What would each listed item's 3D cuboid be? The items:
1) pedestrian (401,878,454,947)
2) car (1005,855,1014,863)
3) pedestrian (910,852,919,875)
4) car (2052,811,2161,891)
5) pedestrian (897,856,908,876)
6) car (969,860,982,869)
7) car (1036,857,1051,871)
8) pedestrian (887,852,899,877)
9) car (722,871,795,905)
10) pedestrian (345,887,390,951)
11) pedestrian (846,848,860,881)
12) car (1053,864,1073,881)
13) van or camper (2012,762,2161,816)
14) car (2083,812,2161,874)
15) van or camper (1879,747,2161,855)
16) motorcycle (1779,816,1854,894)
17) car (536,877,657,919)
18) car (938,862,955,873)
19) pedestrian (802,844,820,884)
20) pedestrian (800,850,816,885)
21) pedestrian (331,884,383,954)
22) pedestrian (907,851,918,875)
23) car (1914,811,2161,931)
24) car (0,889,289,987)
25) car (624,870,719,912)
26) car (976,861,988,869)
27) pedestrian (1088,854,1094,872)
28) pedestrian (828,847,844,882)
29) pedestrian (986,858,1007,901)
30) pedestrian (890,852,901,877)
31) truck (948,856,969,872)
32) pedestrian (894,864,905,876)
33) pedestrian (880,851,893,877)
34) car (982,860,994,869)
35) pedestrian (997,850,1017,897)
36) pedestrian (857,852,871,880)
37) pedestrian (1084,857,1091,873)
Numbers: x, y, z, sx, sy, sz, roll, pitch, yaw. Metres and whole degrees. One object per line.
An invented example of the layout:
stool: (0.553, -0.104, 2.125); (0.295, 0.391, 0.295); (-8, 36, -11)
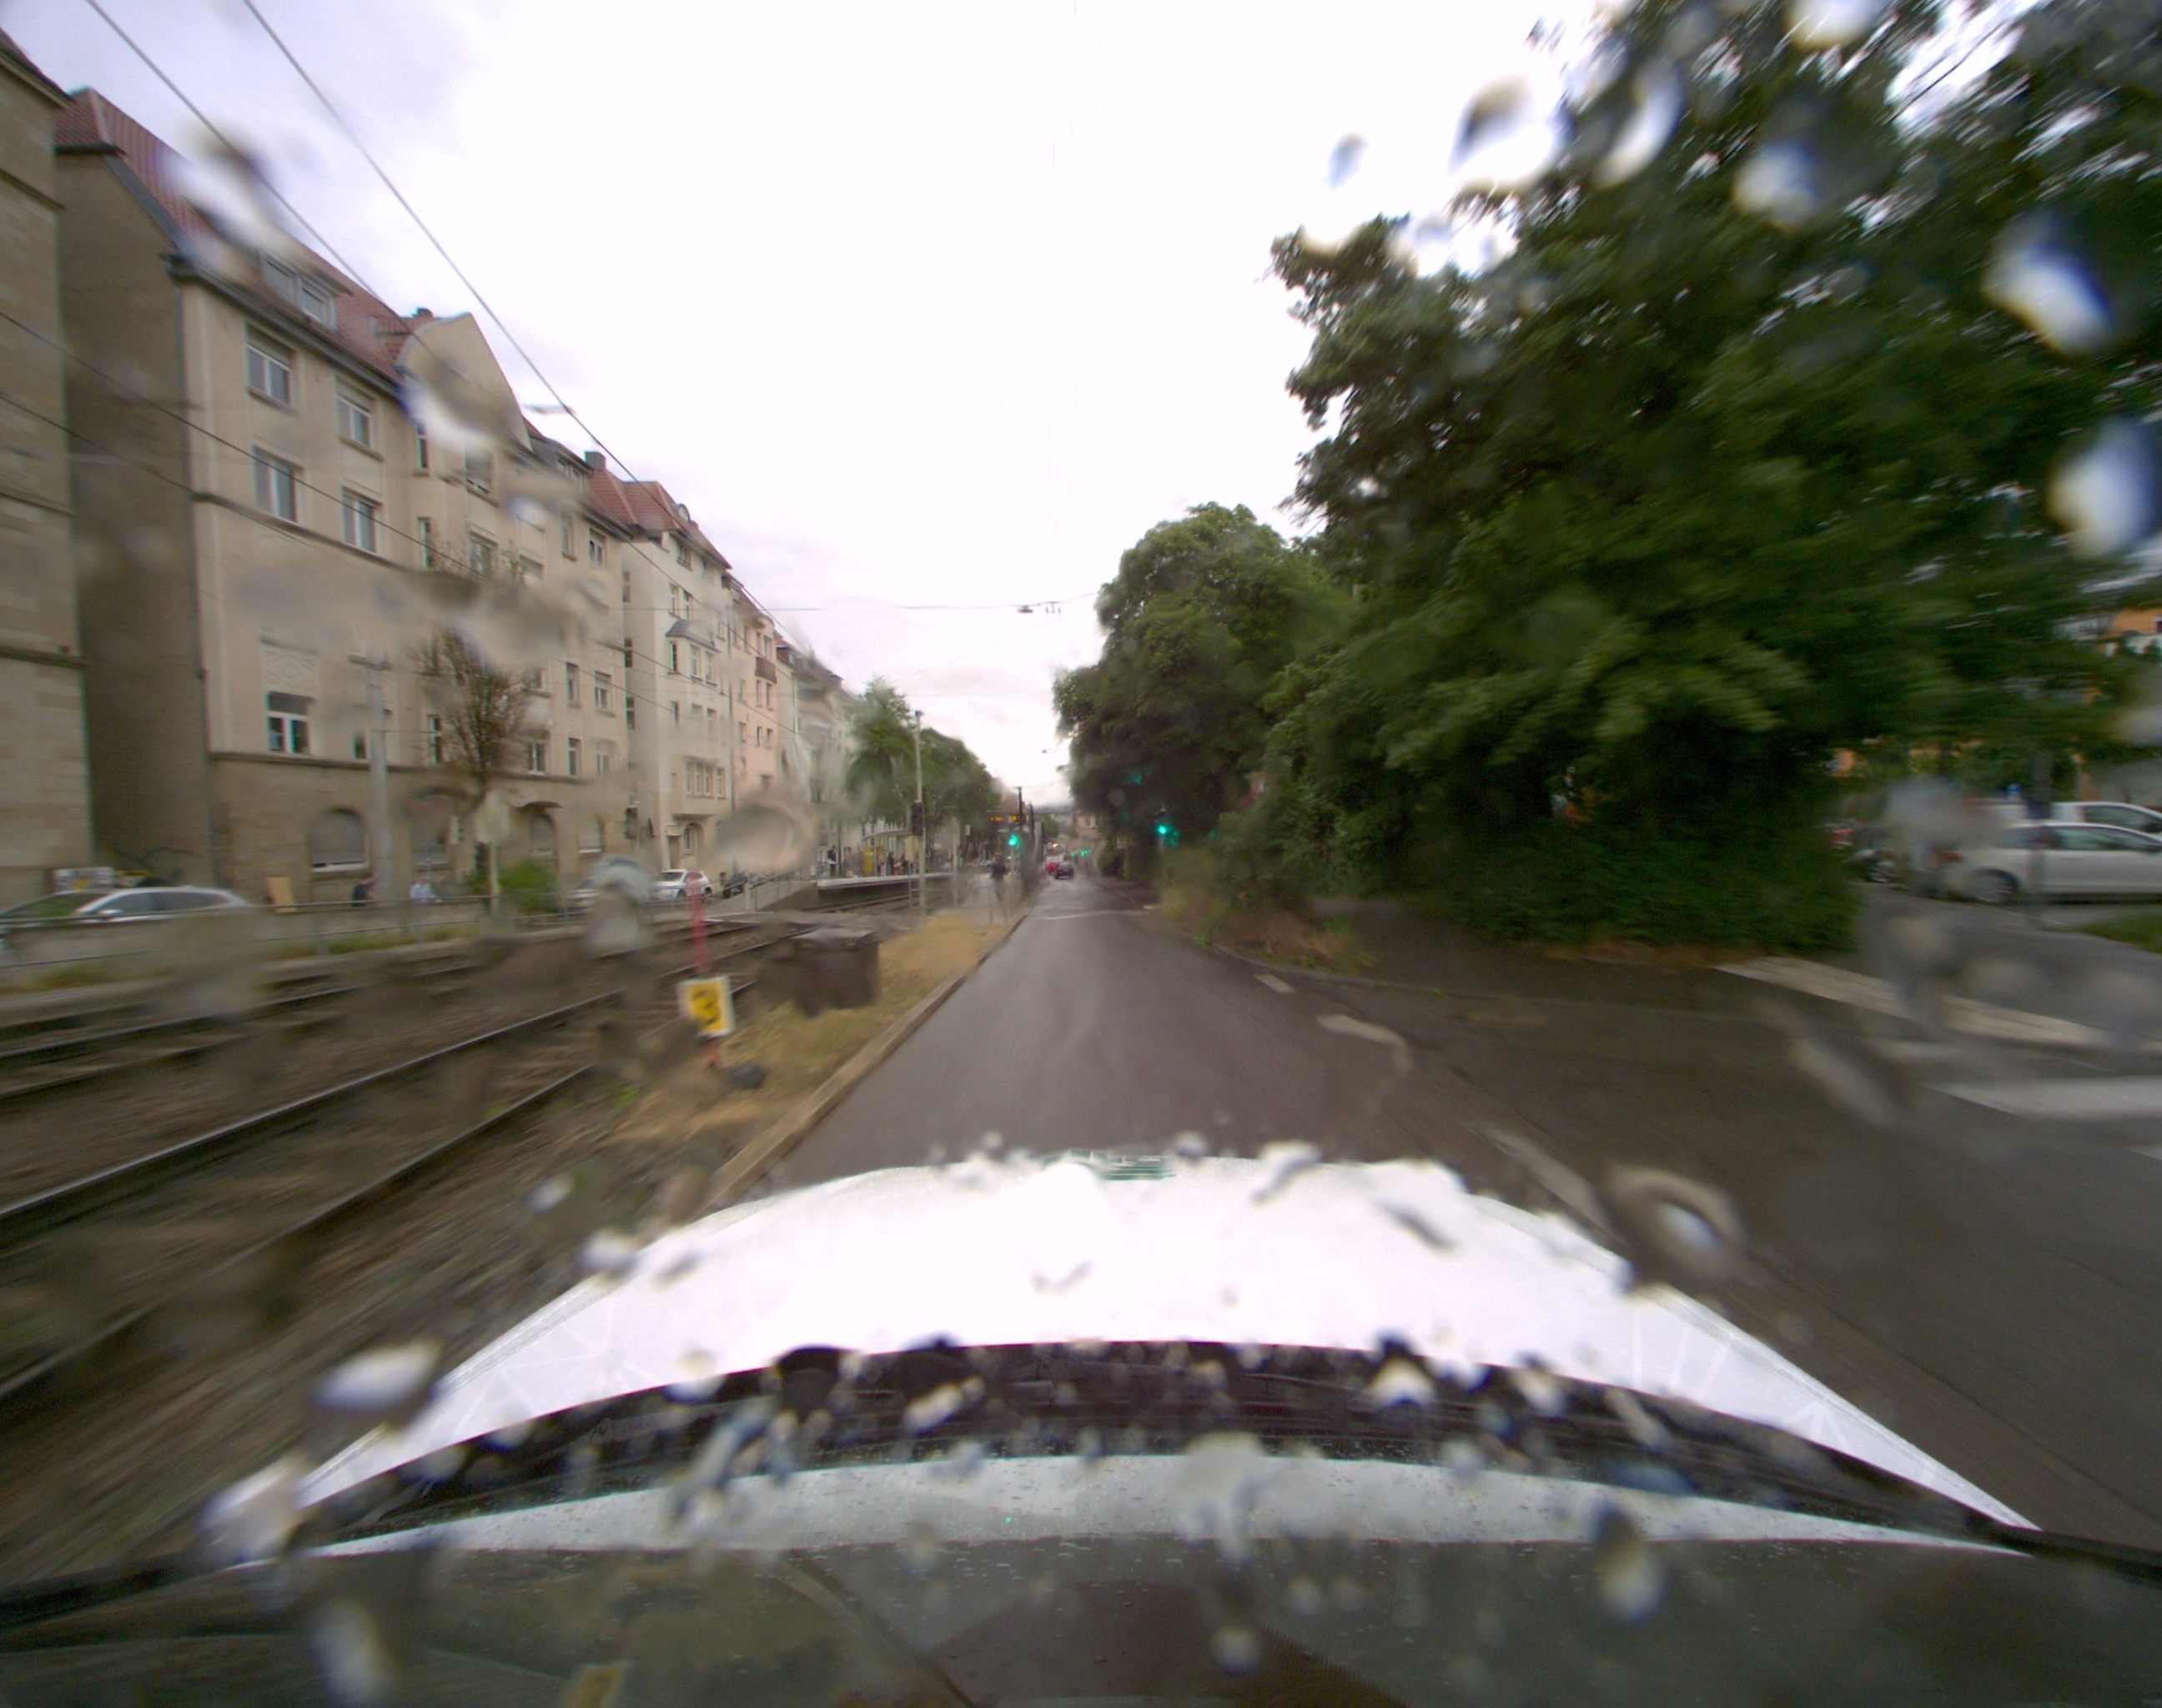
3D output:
pedestrian: (-16.818, 1.481, 20.963); (0.717, 1.700, 0.728); (-2, -1, 0)
car: (-19.595, 1.390, 223.891); (1.989, 2.013, 4.342); (-4, -1, -2)
pedestrian: (-12.940, 0.728, 63.281); (0.481, 1.741, 0.563); (-4, -1, -1)
car: (24.928, -0.142, 18.172); (3.854, 1.684, 1.749); (-4, -1, 40)
pedestrian: (-12.839, 0.868, 58.553); (0.548, 1.413, 0.614); (-4, -1, -1)
car: (-19.109, 1.917, 147.577); (1.768, 1.546, 4.253); (-4, 0, -1)
car: (-5.108, 1.312, 110.574); (1.944, 1.793, 4.140); (-2, -1, -3)
pedestrian: (-12.766, 0.714, 55.375); (0.592, 1.666, 0.591); (-4, -1, -2)
car: (-18.265, 1.874, 46.388); (1.986, 1.732, 4.815); (-3, -1, 2)
pedestrian: (-17.612, 1.596, 20.116); (0.518, 1.532, 0.620); (-2, -1, 0)
pedestrian: (-13.182, 0.604, 47.053); (0.514, 1.838, 0.761); (-4, -1, -1)
car: (-1.760, 1.771, 79.867); (1.847, 1.473, 3.996); (-2, 0, -2)
van or camper: (46.011, -2.911, 36.230); (5.881, 2.013, 2.008); (-3, 0, 15)
car: (36.917, -0.410, 27.568); (1.976, 2.013, 4.021); (-3, 0, 21)
van or camper: (20.172, -1.066, 16.825); (5.115, 1.834, 2.012); (-5, -1, 43)
motorcycle: (14.250, 0.002, 15.840); (0.814, 1.375, 2.445); (3, 2, 37)
car: (-18.773, 1.675, 31.856); (1.987, 1.533, 4.531); (0, -2, 0)
car: (-19.180, 1.912, 116.253); (1.720, 1.515, 4.495); (-2, 0, 0)
pedestrian: (-12.792, 0.494, 38.650); (0.559, 1.850, 0.598); (-4, -1, -1)
pedestrian: (-13.151, 0.647, 39.213); (0.514, 1.605, 0.562); (-4, -1, -1)
pedestrian: (-17.113, 1.526, 19.263); (0.623, 1.593, 0.620); (-2, -1, 0)
pedestrian: (-12.393, 0.643, 59.822); (0.548, 1.741, 0.614); (-4, -1, -1)
car: (18.439, 0.294, 14.698); (4.450, 2.014, 2.013); (-2, -1, 38)
car: (-18.425, 1.500, 15.636); (1.712, 1.442, 4.865); (-2, -1, -2)
car: (-18.720, 1.640, 37.488); (1.917, 1.622, 4.535); (-3, 0, 1)
car: (-19.225, 2.097, 159.008); (1.768, 1.488, 4.254); (-4, 0, -1)
pedestrian: (1.008, 0.941, 85.325); (0.552, 1.813, 0.650); (-2, -1, -4)
pedestrian: (-13.090, 0.548, 43.517); (0.514, 1.838, 0.761); (-4, -1, -1)
pedestrian: (-3.199, 0.962, 30.818); (0.648, 1.562, 0.683); (-2, -1, -1)
pedestrian: (-12.889, 0.737, 56.498); (0.548, 1.666, 0.614); (-4, -1, -1)
truck: (-18.981, 1.576, 126.419); (2.043, 2.393, 6.324); (-2, 0, 2)
pedestrian: (-12.842, 1.127, 57.650); (0.548, 0.872, 0.614); (-4, -1, -1)
pedestrian: (-12.666, 0.674, 53.029); (0.592, 1.666, 0.761); (-4, -1, -1)
car: (-19.139, 2.091, 167.696); (1.768, 1.619, 4.254); (-4, 0, -1)
pedestrian: (-2.905, 0.751, 32.018); (0.648, 1.784, 0.847); (-2, -1, -1)
pedestrian: (-13.206, 0.727, 49.587); (0.592, 1.666, 0.761); (-4, -1, -1)
pedestrian: (0.698, 1.134, 84.685); (0.693, 1.695, 0.555); (-2, -1, -3)
